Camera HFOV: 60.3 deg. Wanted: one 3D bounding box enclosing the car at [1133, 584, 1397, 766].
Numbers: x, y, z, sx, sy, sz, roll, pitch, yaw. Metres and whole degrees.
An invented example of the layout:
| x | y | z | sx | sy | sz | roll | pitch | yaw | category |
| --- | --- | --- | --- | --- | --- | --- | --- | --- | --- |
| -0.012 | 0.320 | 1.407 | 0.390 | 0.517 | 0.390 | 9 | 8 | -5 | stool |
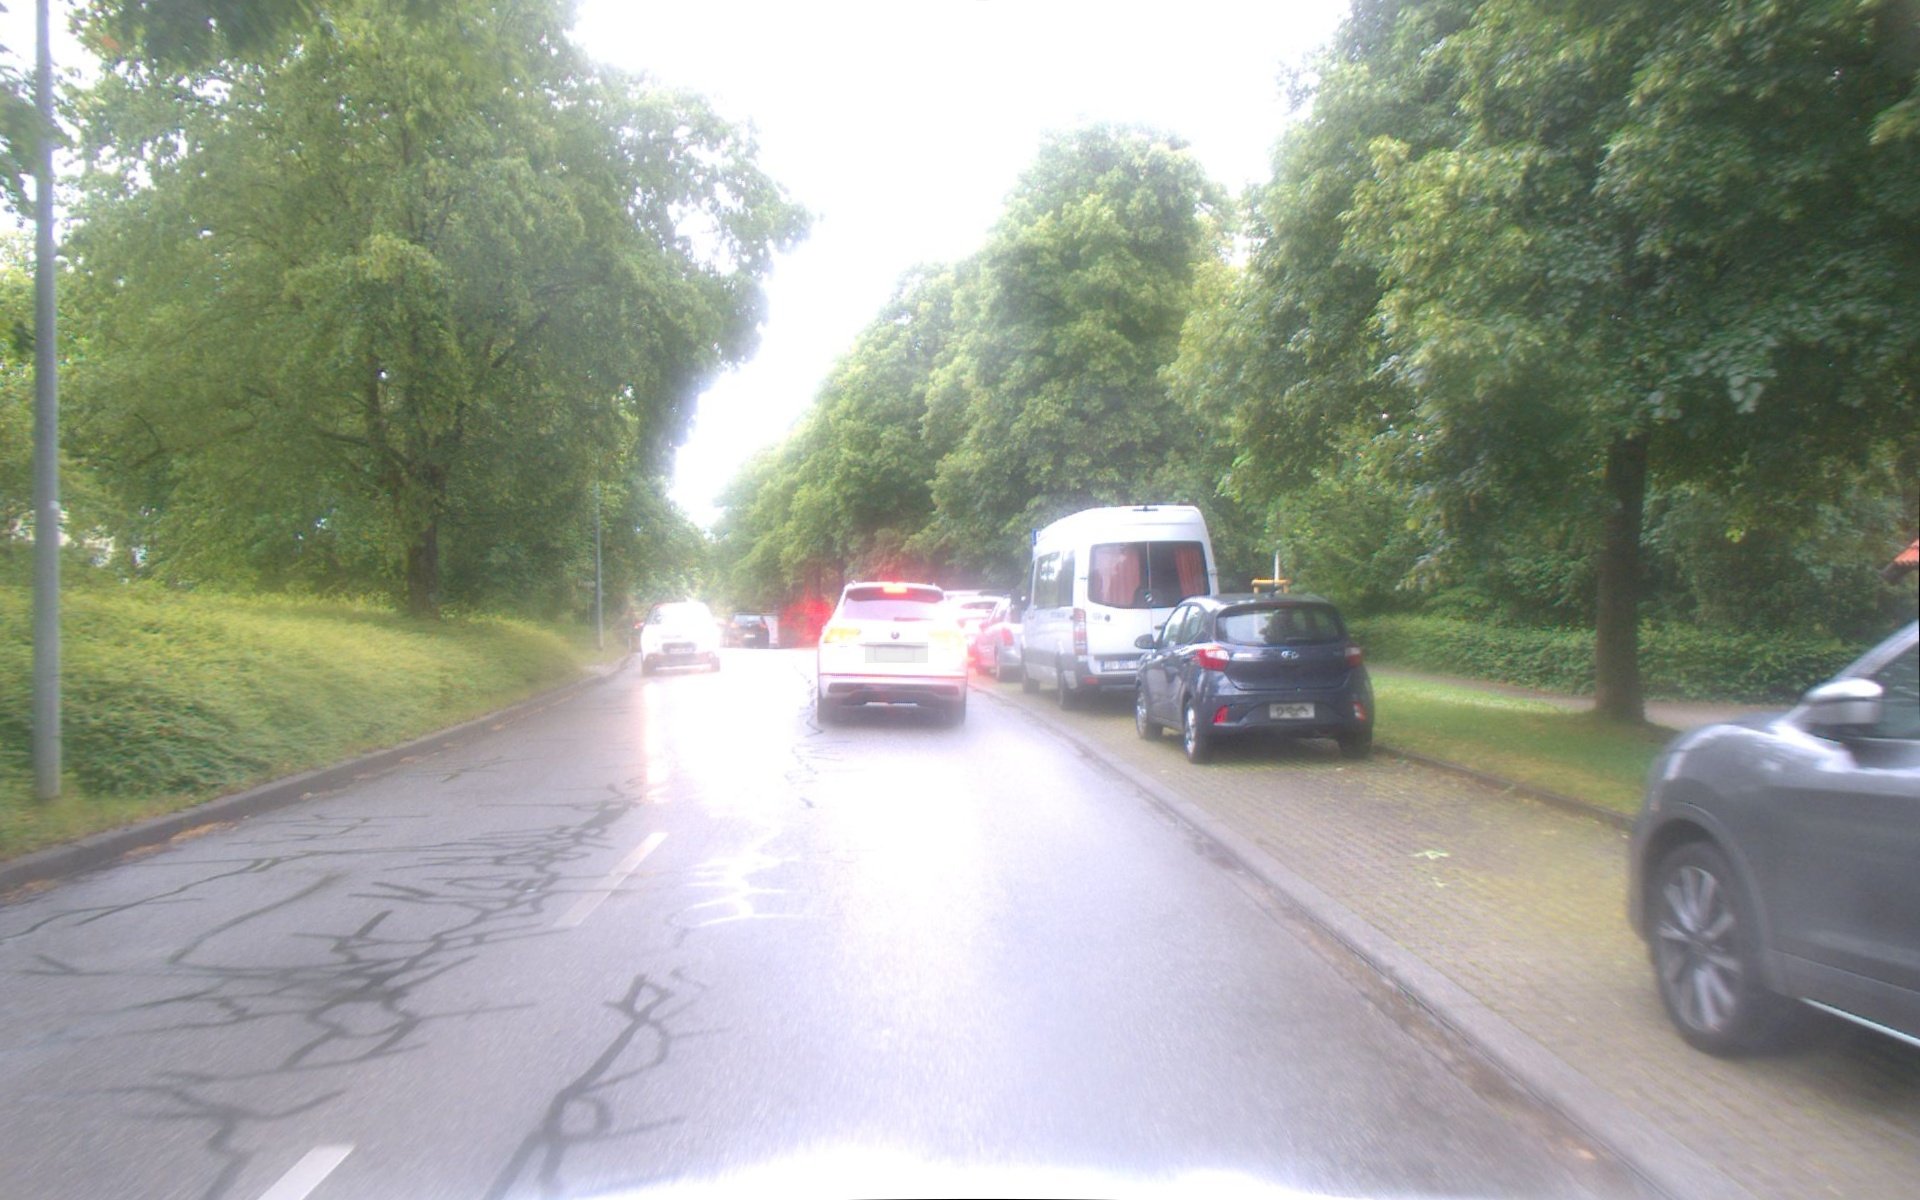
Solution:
| x | y | z | sx | sy | sz | roll | pitch | yaw | category |
| --- | --- | --- | --- | --- | --- | --- | --- | --- | --- |
| 2.856 | 0.632 | 16.268 | 1.827 | 1.537 | 3.724 | -1 | 1 | -1 | car |

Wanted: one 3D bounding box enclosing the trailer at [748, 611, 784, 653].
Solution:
| x | y | z | sx | sy | sz | roll | pitch | yaw | category |
| --- | --- | --- | --- | --- | --- | --- | --- | --- | --- |
| -10.680 | 1.782 | 91.004 | 1.503 | 2.112 | 3.986 | -2 | -3 | -13 | trailer |

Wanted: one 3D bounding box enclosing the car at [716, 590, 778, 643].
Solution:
| x | y | z | sx | sy | sz | roll | pitch | yaw | category |
| --- | --- | --- | --- | --- | --- | --- | --- | --- | --- |
| -8.876 | 0.652 | 68.691 | 1.962 | 2.048 | 3.982 | -1 | 2 | -16 | car |

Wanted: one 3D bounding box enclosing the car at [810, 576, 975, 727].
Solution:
| x | y | z | sx | sy | sz | roll | pitch | yaw | category |
| --- | --- | --- | --- | --- | --- | --- | --- | --- | --- |
| -0.867 | 0.614 | 20.972 | 1.867 | 1.715 | 4.198 | 0 | -1 | -3 | car |

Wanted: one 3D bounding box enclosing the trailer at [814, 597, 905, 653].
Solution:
| x | y | z | sx | sy | sz | roll | pitch | yaw | category |
| --- | --- | --- | --- | --- | --- | --- | --- | --- | --- |
| -3.723 | 0.956 | 60.030 | 2.406 | 1.844 | 5.873 | -1 | -2 | -12 | trailer |

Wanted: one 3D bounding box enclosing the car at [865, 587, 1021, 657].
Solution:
| x | y | z | sx | sy | sz | roll | pitch | yaw | category |
| --- | --- | --- | --- | --- | --- | --- | --- | --- | --- |
| -0.473 | 0.575 | 42.898 | 3.933 | 1.710 | 1.603 | -2 | -1 | 41 | car |

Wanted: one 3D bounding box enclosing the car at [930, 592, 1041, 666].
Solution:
| x | y | z | sx | sy | sz | roll | pitch | yaw | category |
| --- | --- | --- | --- | --- | --- | --- | --- | --- | --- |
| 0.512 | 0.607 | 37.640 | 1.955 | 1.523 | 4.560 | -1 | 0 | -6 | car |

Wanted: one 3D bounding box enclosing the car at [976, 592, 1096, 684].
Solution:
| x | y | z | sx | sy | sz | roll | pitch | yaw | category |
| --- | --- | --- | --- | --- | --- | --- | --- | --- | --- |
| 1.365 | 0.662 | 31.414 | 1.769 | 1.566 | 4.264 | -2 | 0 | -4 | car |

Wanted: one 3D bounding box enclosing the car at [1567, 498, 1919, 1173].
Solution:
| x | y | z | sx | sy | sz | roll | pitch | yaw | category |
| --- | --- | --- | --- | --- | --- | --- | --- | --- | --- |
| 3.357 | 0.577 | 4.145 | 1.747 | 1.749 | 4.258 | -4 | 2 | -5 | car |

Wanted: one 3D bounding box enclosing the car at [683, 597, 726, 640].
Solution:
| x | y | z | sx | sy | sz | roll | pitch | yaw | category |
| --- | --- | --- | --- | --- | --- | --- | --- | --- | --- |
| -13.366 | 0.932 | 86.247 | 1.959 | 2.048 | 3.988 | -1 | 2 | -13 | car |

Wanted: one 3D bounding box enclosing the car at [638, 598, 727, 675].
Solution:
| x | y | z | sx | sy | sz | roll | pitch | yaw | category |
| --- | --- | --- | --- | --- | --- | --- | --- | --- | --- |
| -6.063 | 0.764 | 36.471 | 1.634 | 1.503 | 3.727 | -3 | 1 | -6 | car |

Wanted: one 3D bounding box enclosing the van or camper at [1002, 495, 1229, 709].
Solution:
| x | y | z | sx | sy | sz | roll | pitch | yaw | category |
| --- | --- | --- | --- | --- | --- | --- | --- | --- | --- |
| 2.047 | -0.038 | 24.748 | 1.976 | 2.628 | 8.429 | 1 | 1 | -4 | van or camper |
